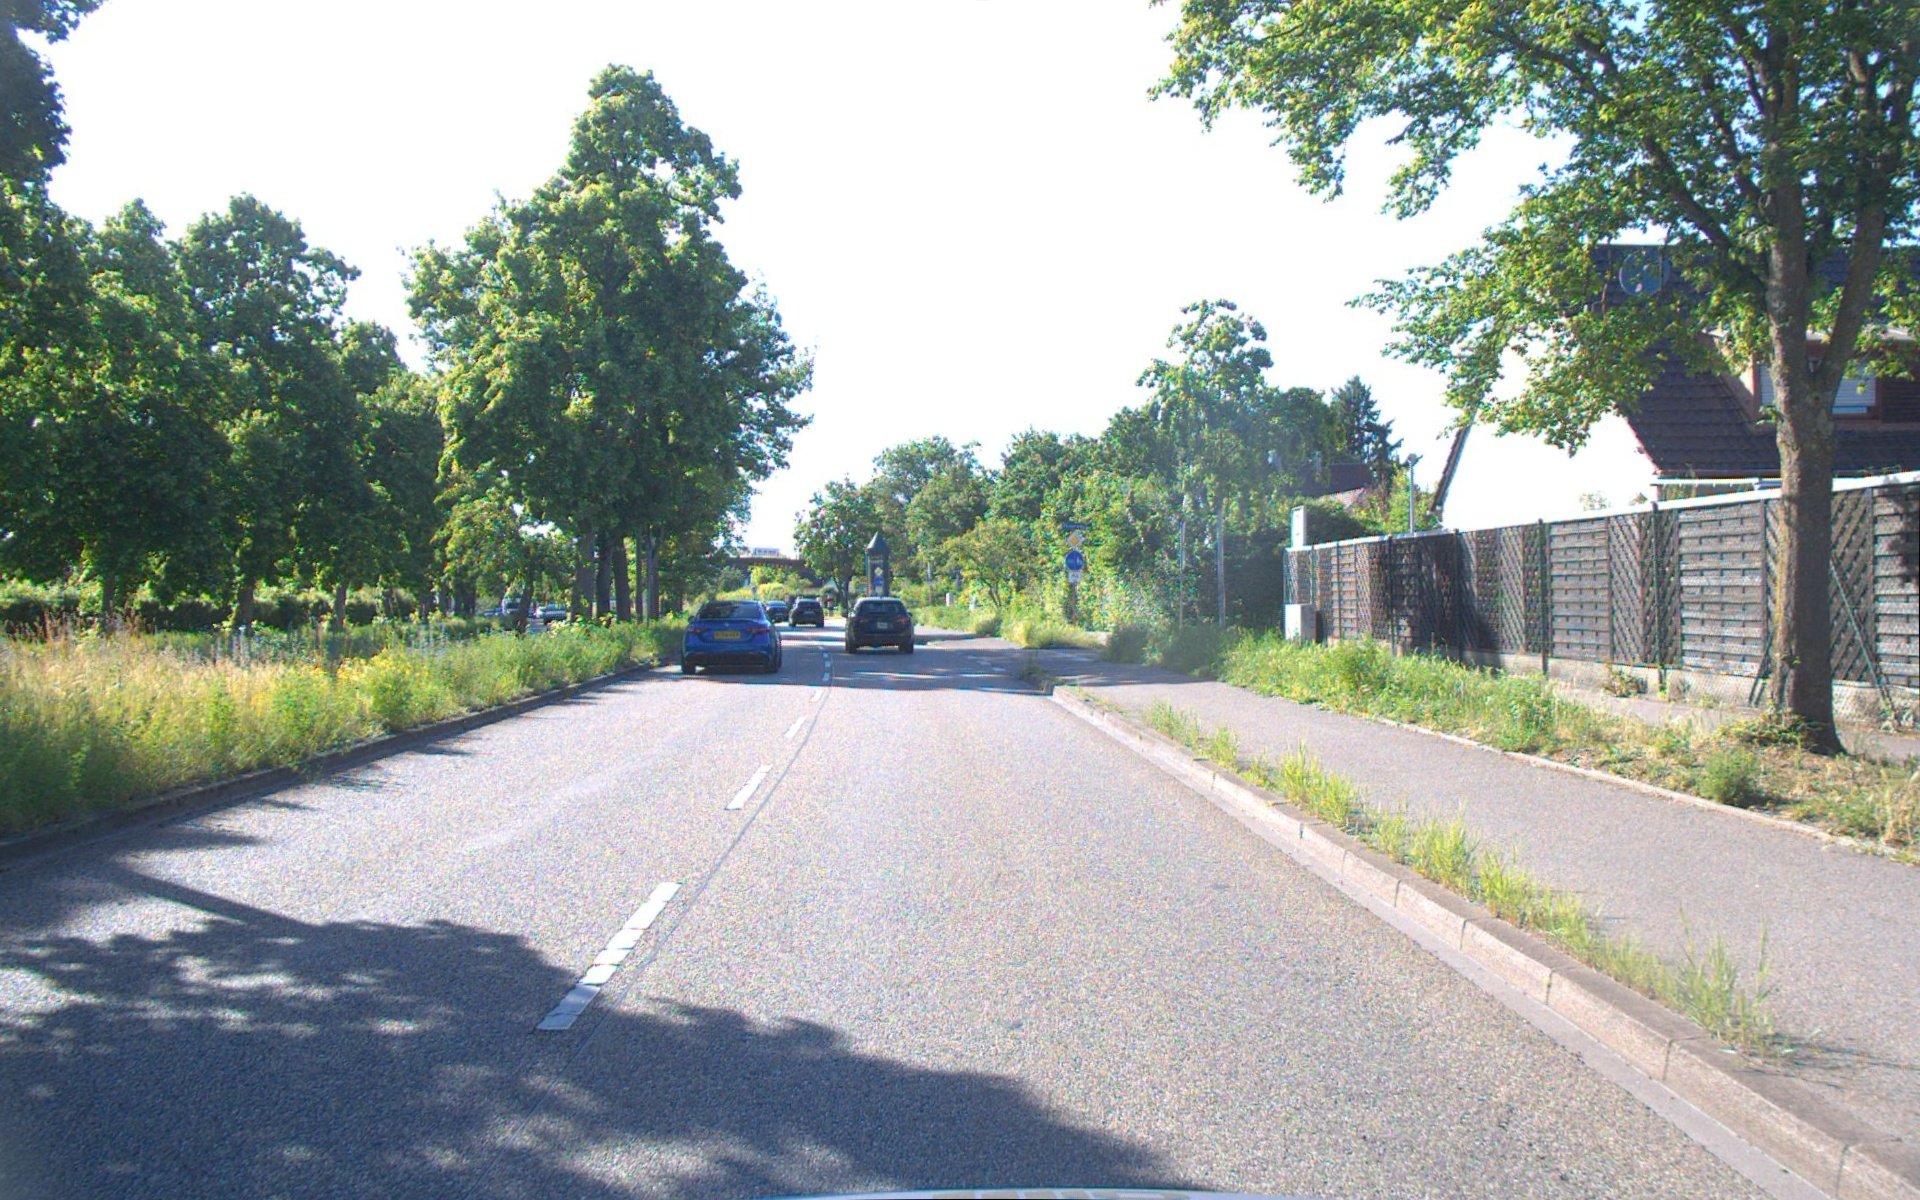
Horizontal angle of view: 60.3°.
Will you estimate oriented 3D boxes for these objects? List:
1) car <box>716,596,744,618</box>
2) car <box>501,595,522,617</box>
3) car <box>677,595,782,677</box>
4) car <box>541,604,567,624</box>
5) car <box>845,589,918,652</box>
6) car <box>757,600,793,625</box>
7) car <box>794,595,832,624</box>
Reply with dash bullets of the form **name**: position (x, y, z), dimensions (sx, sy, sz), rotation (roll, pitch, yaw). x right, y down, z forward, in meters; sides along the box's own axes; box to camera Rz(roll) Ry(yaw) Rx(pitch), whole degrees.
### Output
- **car**: position (-16.161, 0.486, 115.976), dimensions (1.880, 1.538, 4.059), rotation (-1, 0, -9)
- **car**: position (-42.732, 0.533, 157.565), dimensions (1.775, 2.049, 3.981), rotation (-1, 0, -17)
- **car**: position (-4.609, 0.682, 33.595), dimensions (1.802, 1.500, 4.181), rotation (-1, 0, -4)
- **car**: position (-29.880, 1.017, 121.802), dimensions (1.640, 1.493, 3.772), rotation (0, 0, -11)
- **car**: position (-2.141, 0.523, 45.166), dimensions (1.877, 1.607, 4.180), rotation (-1, 0, -3)
- **car**: position (-13.198, 0.873, 117.871), dimensions (1.884, 1.707, 3.995), rotation (0, 0, -16)
- **car**: position (-8.237, 0.520, 92.496), dimensions (1.879, 1.607, 4.175), rotation (0, 0, -8)
